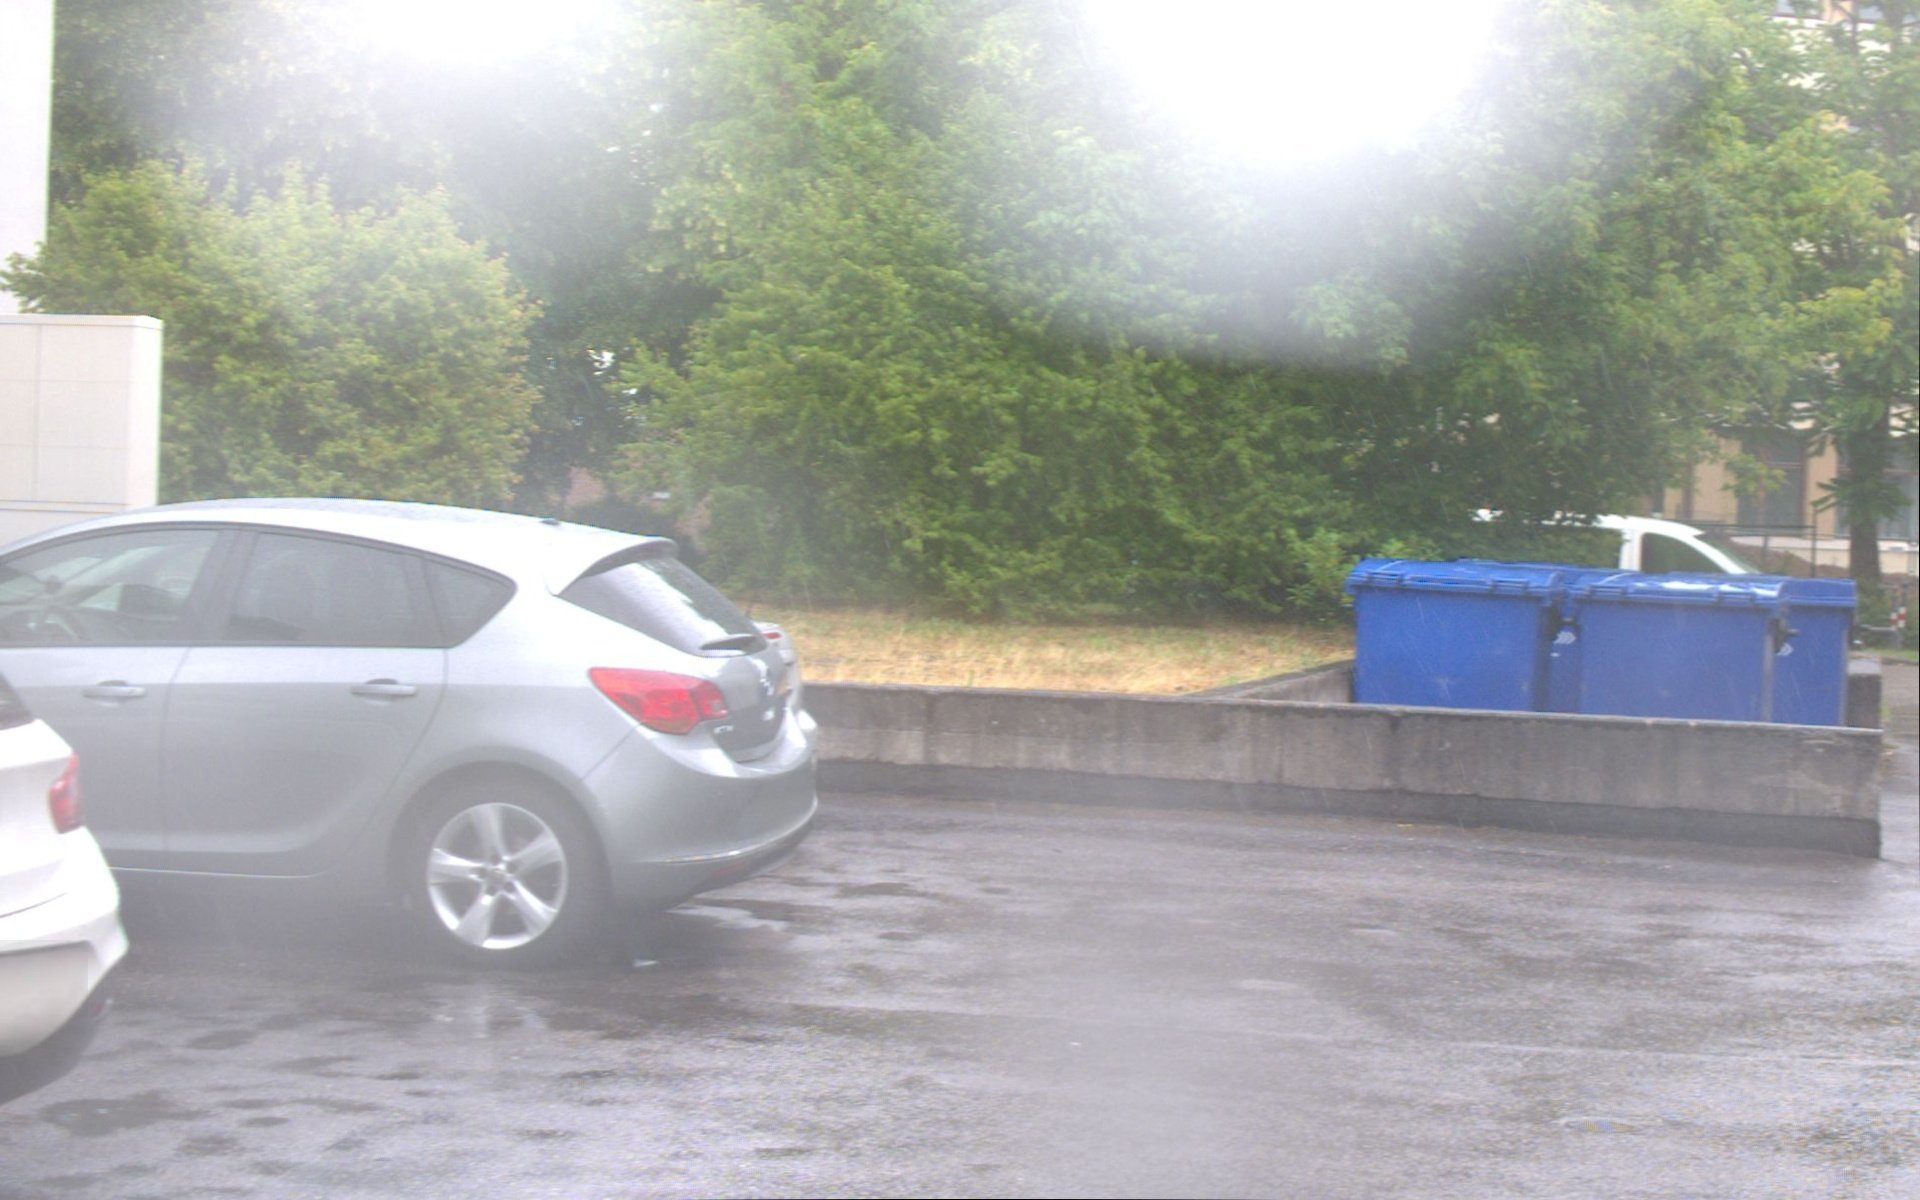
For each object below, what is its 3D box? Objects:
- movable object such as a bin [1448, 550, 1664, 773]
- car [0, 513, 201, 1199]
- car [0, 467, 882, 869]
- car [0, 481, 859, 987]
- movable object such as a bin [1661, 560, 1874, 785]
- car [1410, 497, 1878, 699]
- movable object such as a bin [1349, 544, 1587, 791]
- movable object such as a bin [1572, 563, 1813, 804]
[{"bbox_3d":[3.854,0.375,22.176,1.222,1.332,1.006,2,2,16],"label":"movable object such as a bin"},{"bbox_3d":[-3.875,0.465,7.025,4.141,1.429,1.752,2,1,10],"label":"car"},{"bbox_3d":[-2.621,0.228,15.209,4.168,1.328,1.821,5,3,12],"label":"car"},{"bbox_3d":[-2.602,0.363,12.036,4.167,1.478,1.821,2,2,10],"label":"car"},{"bbox_3d":[5.146,0.441,21.876,1.222,1.332,1.006,2,2,16],"label":"movable object such as a bin"},{"bbox_3d":[7.445,-0.062,37.326,4.784,2.007,1.999,2,2,16],"label":"car"},{"bbox_3d":[3.070,0.383,20.693,1.204,1.332,1.116,4,4,16],"label":"movable object such as a bin"},{"bbox_3d":[4.349,0.472,20.358,1.204,1.332,1.115,3,1,20],"label":"movable object such as a bin"}]
